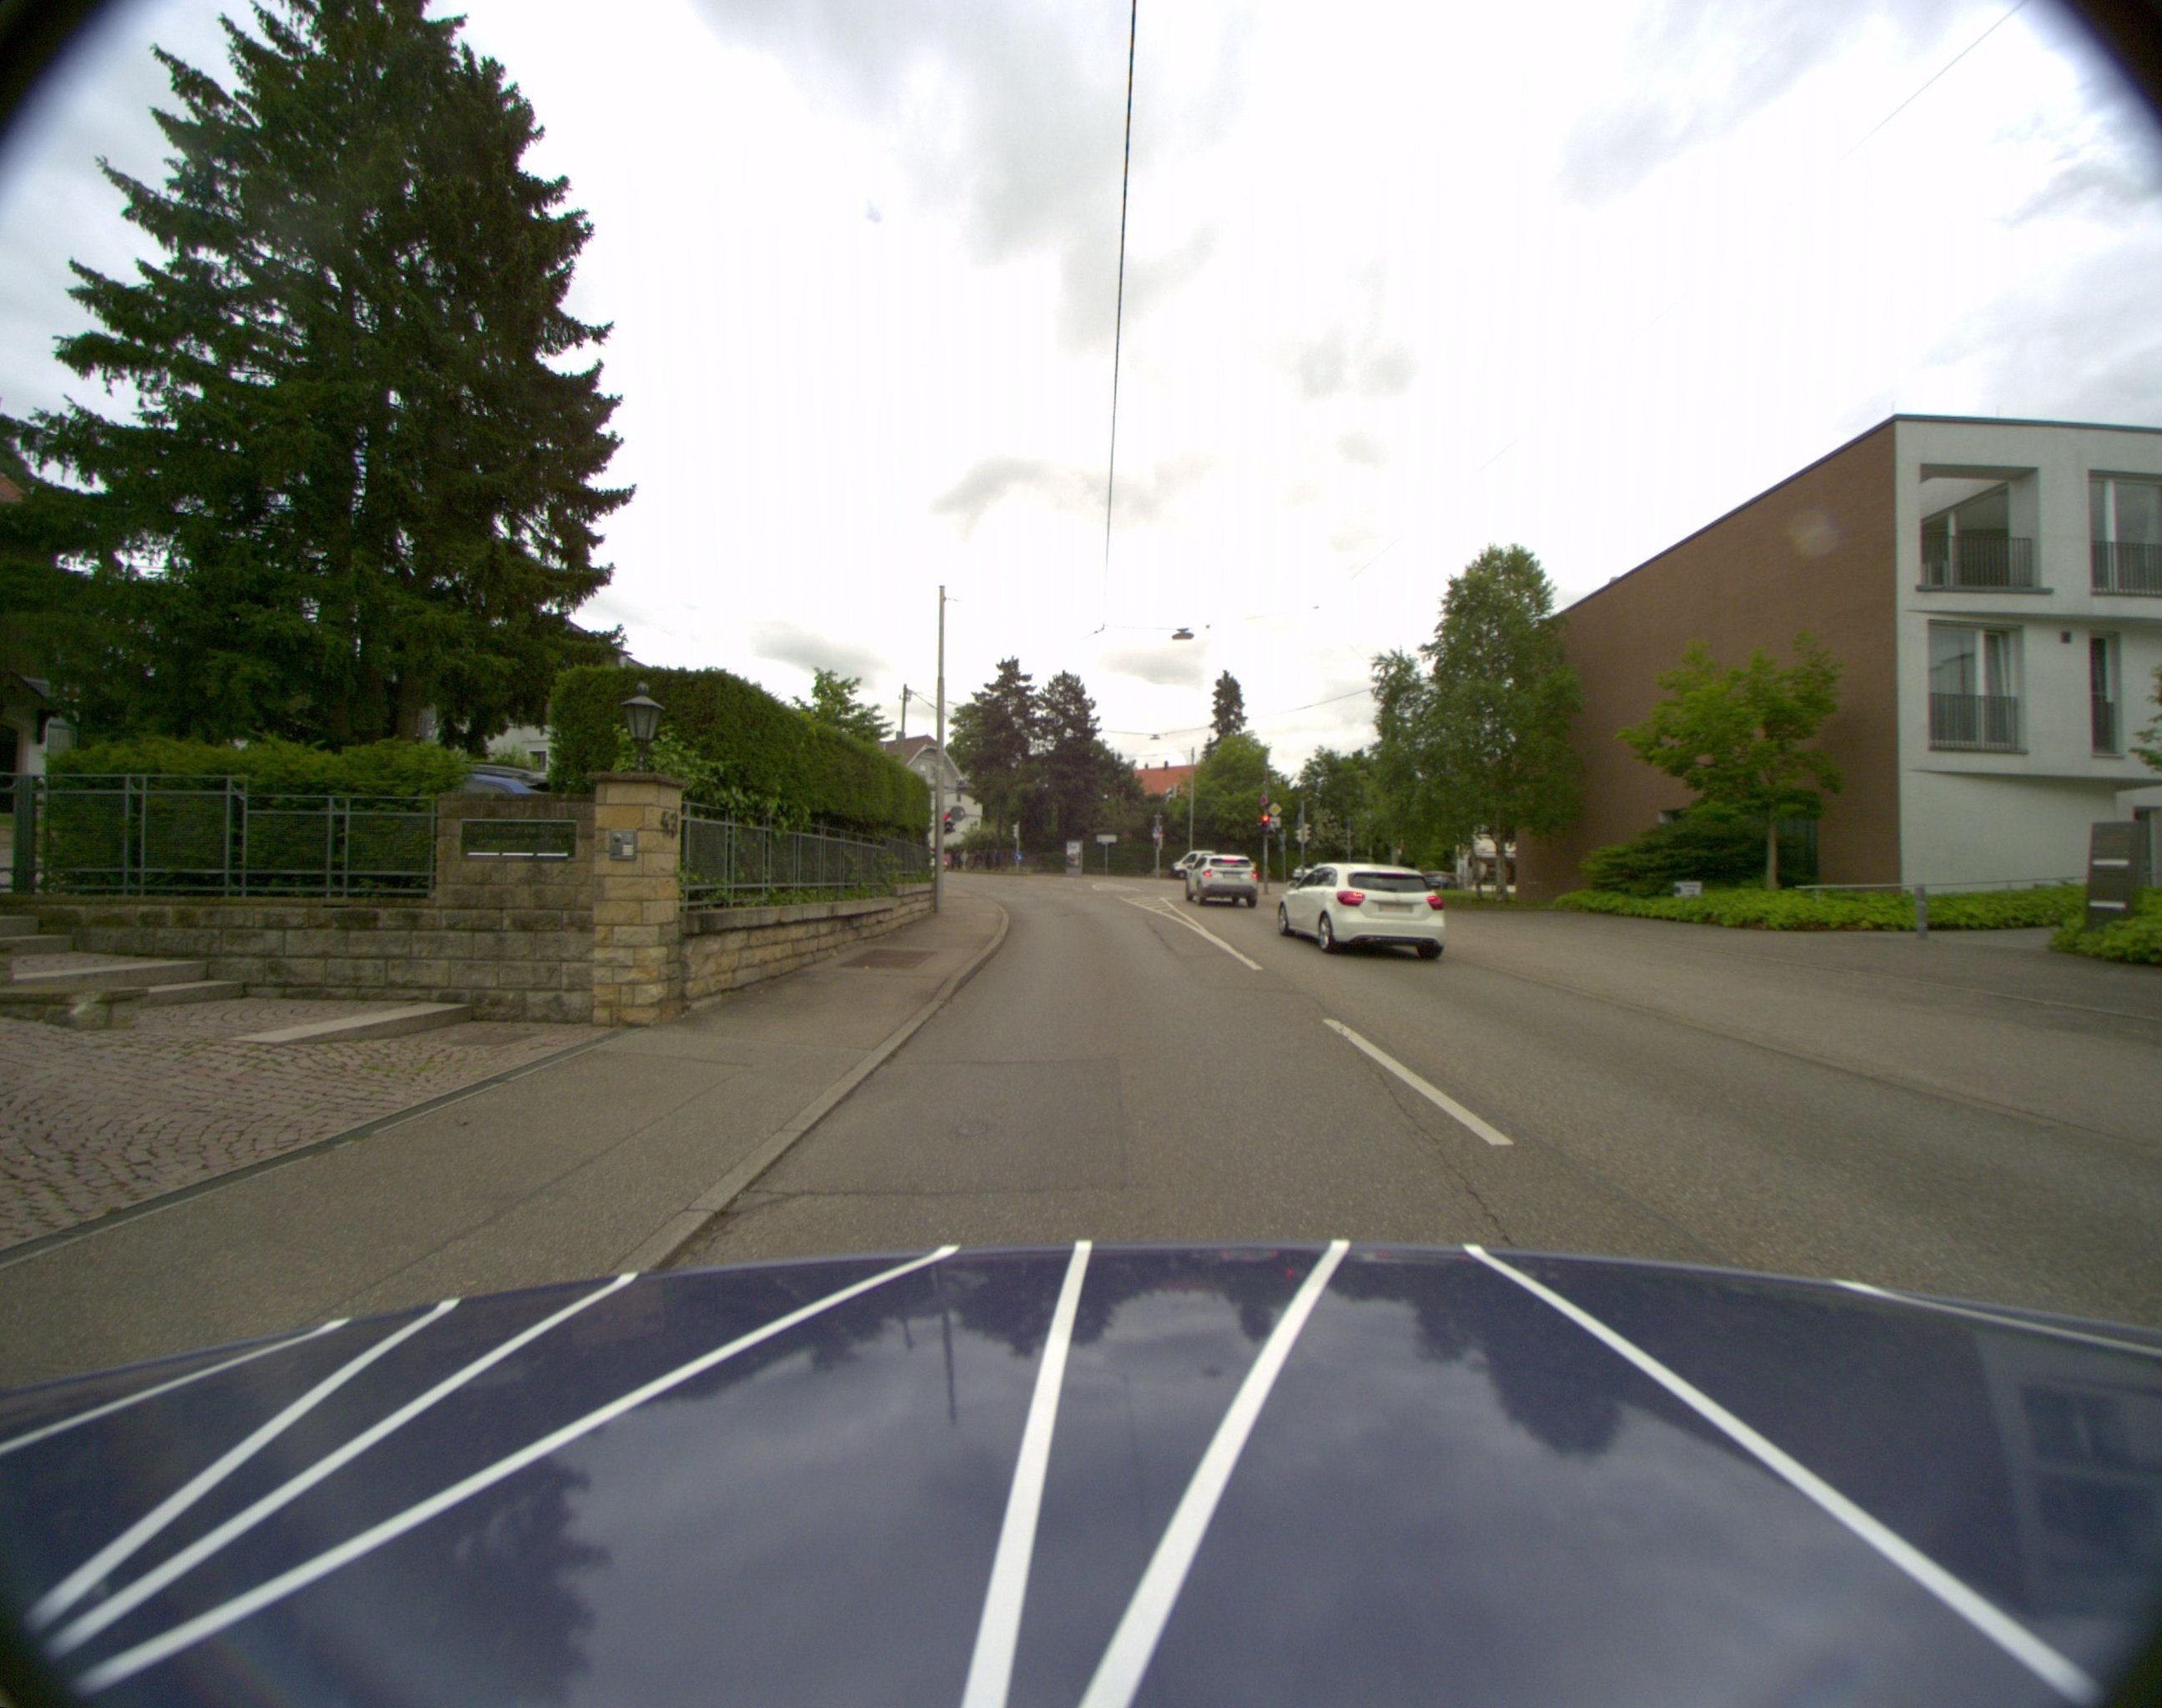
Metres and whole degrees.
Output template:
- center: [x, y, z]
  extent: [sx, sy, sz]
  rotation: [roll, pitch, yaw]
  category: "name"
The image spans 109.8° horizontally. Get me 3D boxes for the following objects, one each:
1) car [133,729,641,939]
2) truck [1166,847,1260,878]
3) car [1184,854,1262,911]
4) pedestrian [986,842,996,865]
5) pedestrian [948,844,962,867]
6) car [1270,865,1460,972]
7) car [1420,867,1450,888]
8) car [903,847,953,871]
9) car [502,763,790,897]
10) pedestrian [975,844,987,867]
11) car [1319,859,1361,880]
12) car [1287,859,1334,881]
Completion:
- center: [-7.897, -0.210, 9.002]
  extent: [3.997, 1.603, 2.000]
  rotation: [9, 0, 0]
  category: "car"
- center: [9.799, 0.586, 56.288]
  extent: [6.706, 2.176, 2.532]
  rotation: [0, 0, 12]
  category: "truck"
- center: [4.541, 0.850, 24.866]
  extent: [1.773, 1.628, 4.302]
  rotation: [3, 0, 1]
  category: "car"
- center: [-7.517, -0.037, 63.479]
  extent: [0.611, 1.824, 0.605]
  rotation: [2, 0, 28]
  category: "pedestrian"
- center: [-10.482, 0.128, 63.145]
  extent: [0.686, 1.803, 0.882]
  rotation: [2, 0, 30]
  category: "pedestrian"
- center: [4.626, 0.966, 13.077]
  extent: [1.770, 1.413, 4.065]
  rotation: [2, 0, 1]
  category: "car"
- center: [26.212, 1.700, 56.248]
  extent: [1.876, 1.440, 4.008]
  rotation: [2, 0, 26]
  category: "car"
- center: [-10.769, 0.312, 53.350]
  extent: [1.621, 1.571, 3.989]
  rotation: [-1, 2, -43]
  category: "car"
- center: [-7.374, -0.388, 13.171]
  extent: [3.749, 1.603, 1.814]
  rotation: [9, 0, 0]
  category: "car"
- center: [-8.142, 0.128, 62.051]
  extent: [0.665, 1.777, 0.614]
  rotation: [2, 0, 25]
  category: "pedestrian"
- center: [21.441, 1.299, 62.791]
  extent: [1.994, 1.603, 4.009]
  rotation: [2, 0, 40]
  category: "car"
- center: [17.734, 1.209, 58.557]
  extent: [1.994, 1.603, 4.009]
  rotation: [2, 0, 40]
  category: "car"
